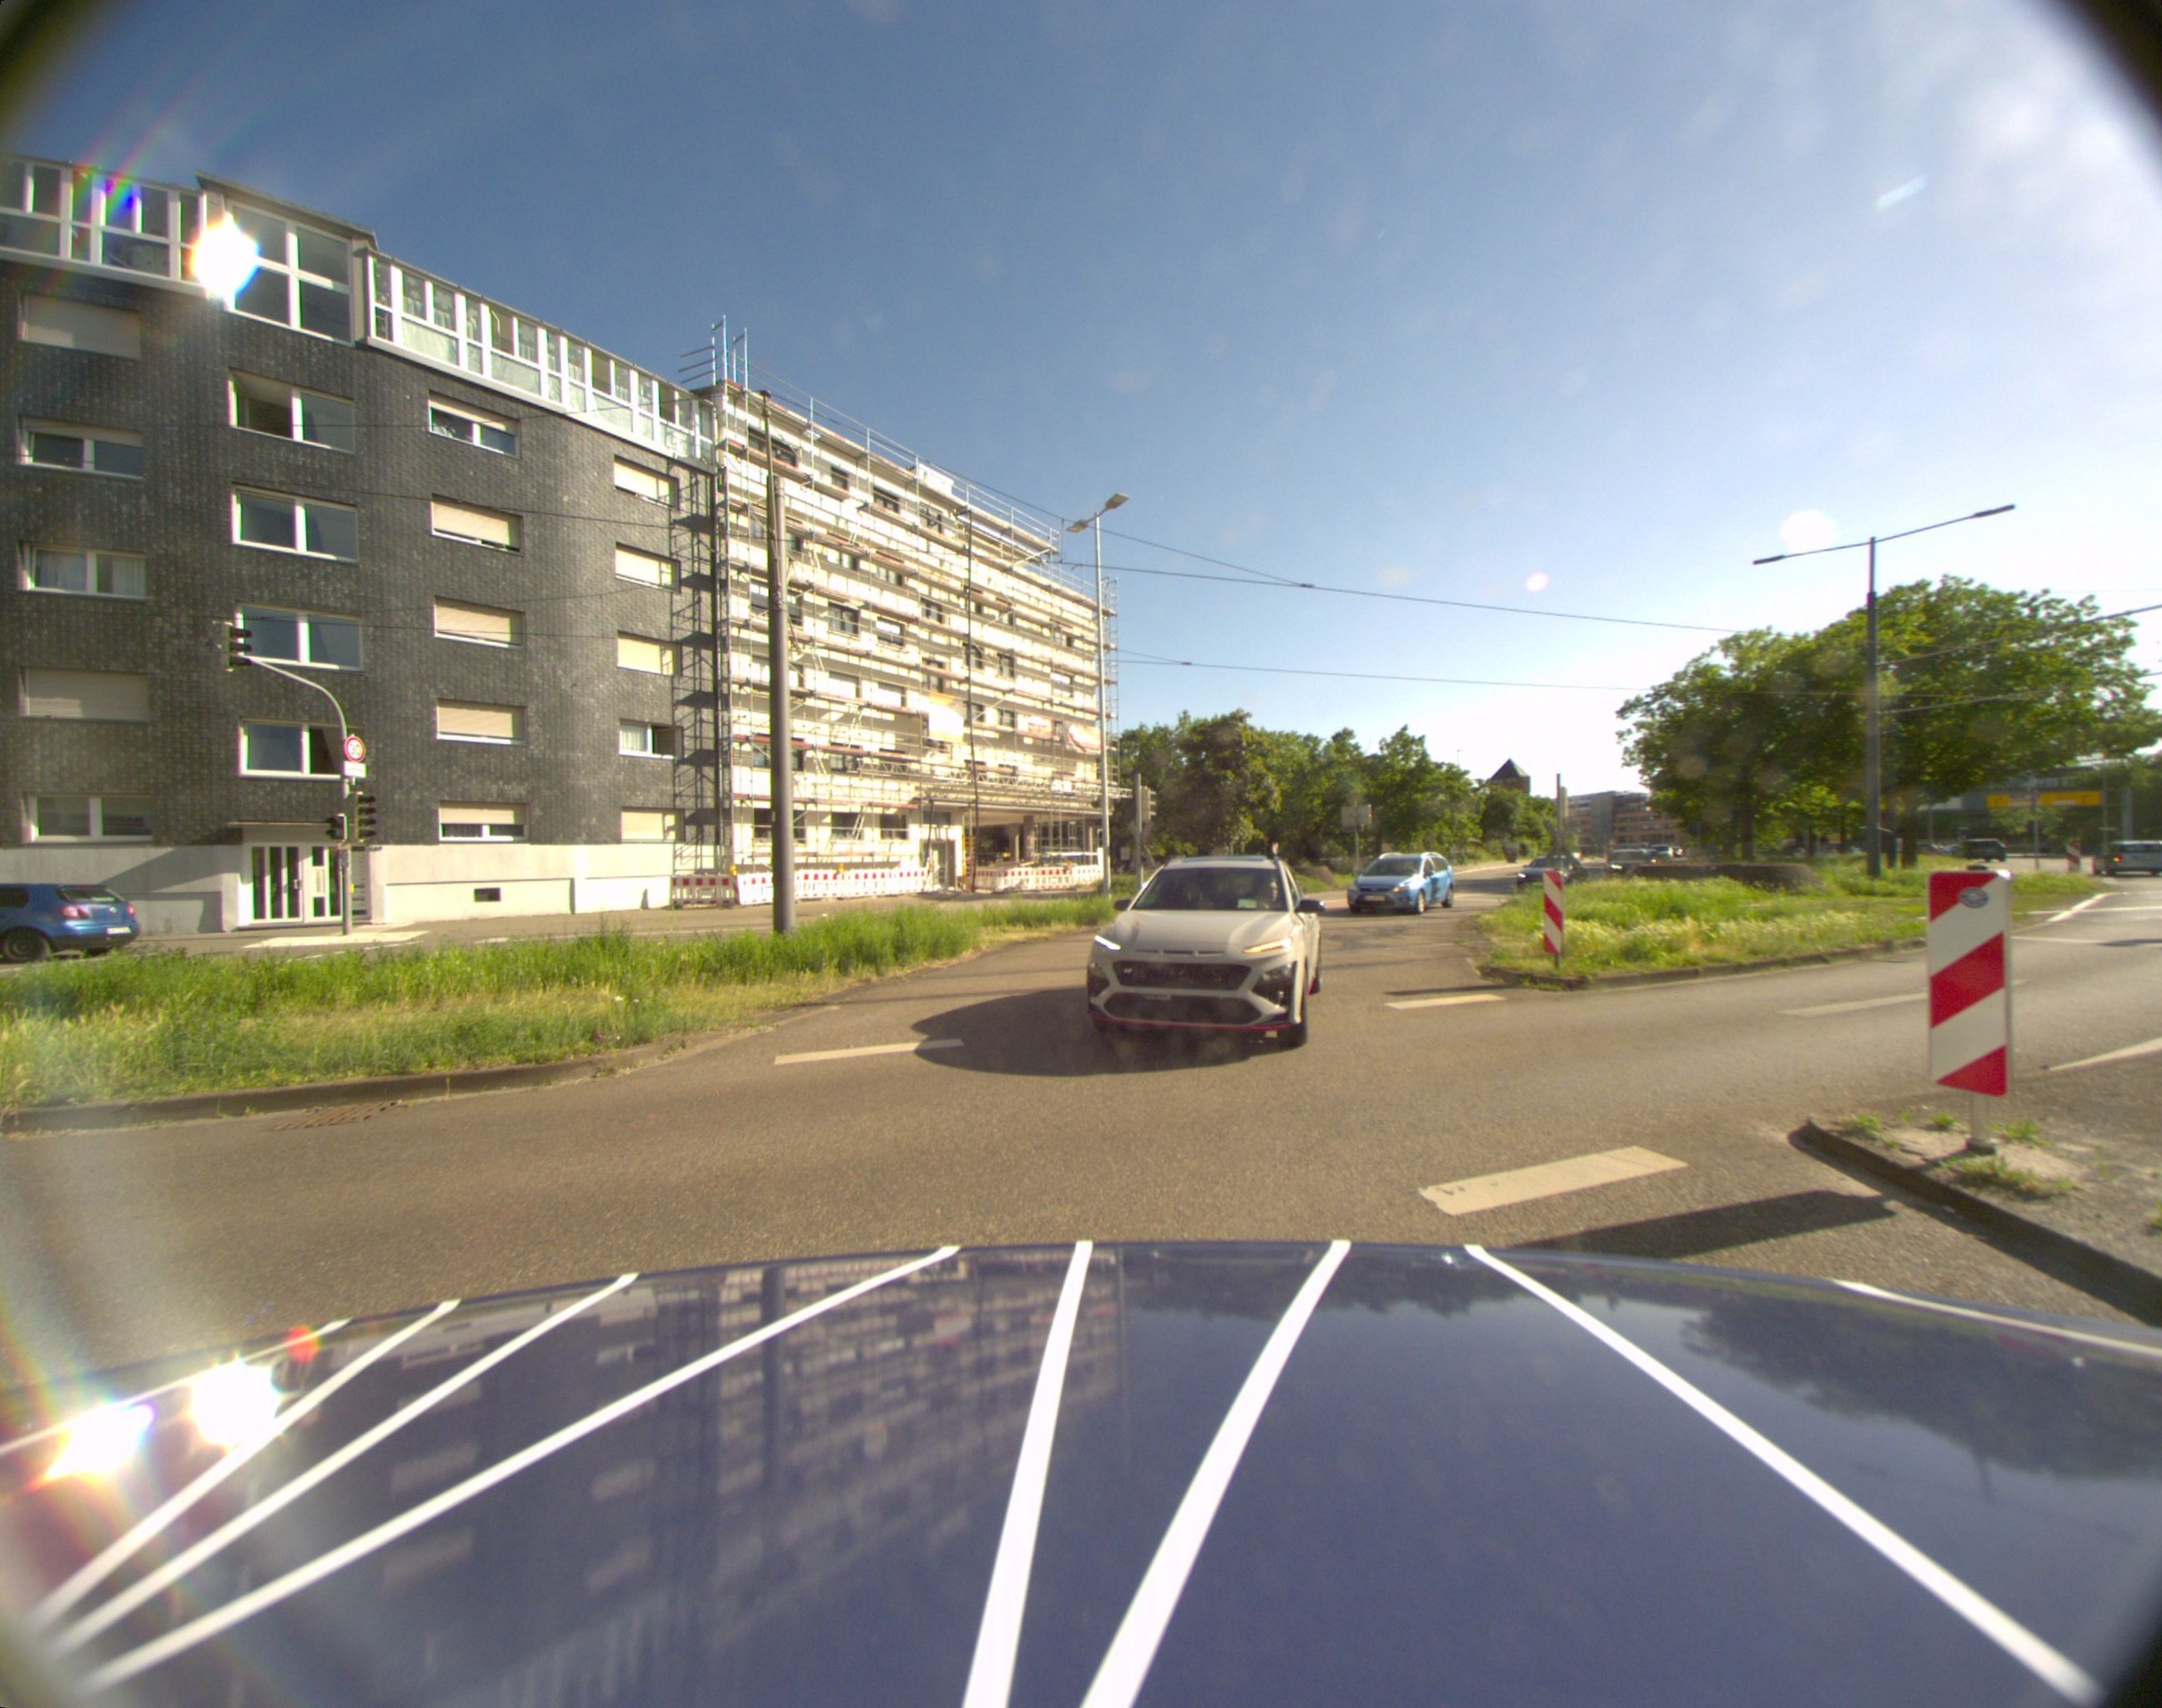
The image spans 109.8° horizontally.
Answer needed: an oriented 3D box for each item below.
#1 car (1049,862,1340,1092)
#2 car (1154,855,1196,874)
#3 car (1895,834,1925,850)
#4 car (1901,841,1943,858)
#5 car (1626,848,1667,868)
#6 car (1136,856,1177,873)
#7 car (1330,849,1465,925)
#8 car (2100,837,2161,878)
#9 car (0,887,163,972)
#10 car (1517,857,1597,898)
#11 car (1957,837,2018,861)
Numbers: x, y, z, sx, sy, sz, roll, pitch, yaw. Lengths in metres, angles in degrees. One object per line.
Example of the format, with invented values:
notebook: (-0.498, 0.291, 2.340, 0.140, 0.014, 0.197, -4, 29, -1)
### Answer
car: (1.494, 0.903, 7.761, 1.901, 1.543, 4.492, -1, 0, 22)
car: (7.981, 0.868, 64.171, 1.817, 1.574, 3.692, -1, 0, 39)
car: (109.670, -1.619, 100.564, 1.994, 2.002, 4.008, -1, 0, 37)
car: (83.201, -0.464, 75.225, 1.994, 1.652, 4.494, -1, 0, 37)
car: (42.679, 0.264, 57.317, 1.868, 1.447, 4.494, -1, 0, 44)
car: (6.566, 0.919, 65.825, 1.817, 1.386, 3.692, -1, 0, 39)
car: (8.515, 0.781, 20.218, 1.868, 1.765, 4.494, -1, 0, 43)
car: (44.657, 0.118, 32.041, 4.493, 1.652, 1.995, -1, 0, -37)
car: (-20.206, 1.402, 13.935, 4.003, 1.407, 1.686, -1, 0, -17)
car: (18.910, 0.864, 30.098, 1.868, 1.447, 4.494, -1, 0, 43)
car: (66.069, -0.391, 55.467, 1.994, 1.652, 4.494, -1, 0, 39)
